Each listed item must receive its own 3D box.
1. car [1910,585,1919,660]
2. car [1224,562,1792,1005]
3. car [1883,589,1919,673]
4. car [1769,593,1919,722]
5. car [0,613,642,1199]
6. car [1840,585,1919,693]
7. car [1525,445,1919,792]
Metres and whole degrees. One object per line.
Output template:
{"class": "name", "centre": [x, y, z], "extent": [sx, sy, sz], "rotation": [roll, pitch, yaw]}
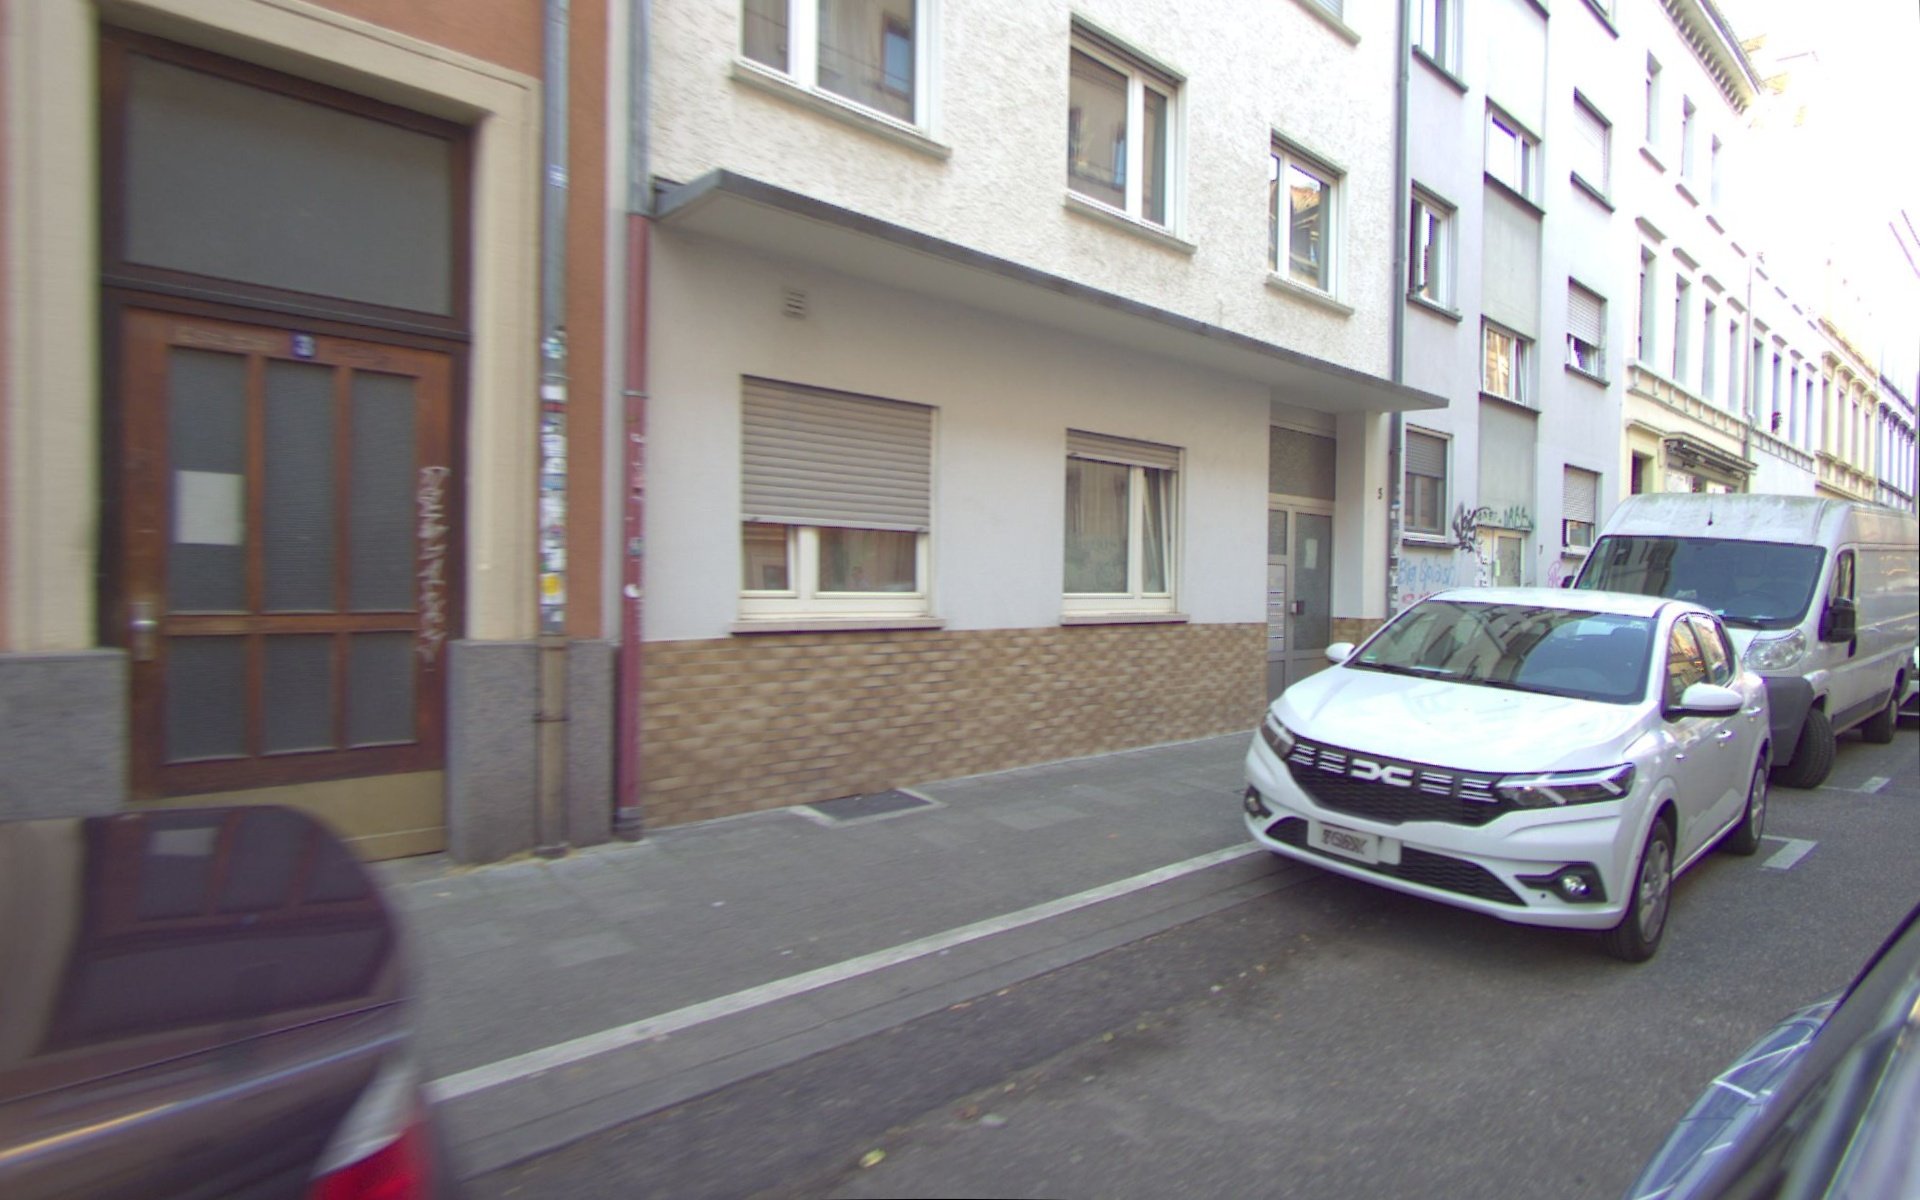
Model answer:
{"class": "car", "centre": [23.109, 0.479, 23.120], "extent": [3.793, 1.656, 1.681], "rotation": [0, 0, -41]}
{"class": "car", "centre": [3.204, 0.647, 5.549], "extent": [3.796, 1.579, 1.680], "rotation": [0, 0, -44]}
{"class": "car", "centre": [19.282, 0.556, 19.605], "extent": [3.793, 1.539, 1.681], "rotation": [0, 0, -42]}
{"class": "car", "centre": [11.949, 0.641, 13.076], "extent": [3.793, 1.461, 1.682], "rotation": [0, 0, -41]}
{"class": "car", "centre": [-2.594, 0.748, 0.375], "extent": [4.418, 1.412, 1.769], "rotation": [0, 0, -42]}
{"class": "car", "centre": [15.535, 0.562, 16.182], "extent": [3.792, 1.585, 1.682], "rotation": [0, 0, -41]}
{"class": "car", "centre": [7.990, 0.118, 10.109], "extent": [5.915, 2.545, 2.049], "rotation": [0, 0, -39]}
